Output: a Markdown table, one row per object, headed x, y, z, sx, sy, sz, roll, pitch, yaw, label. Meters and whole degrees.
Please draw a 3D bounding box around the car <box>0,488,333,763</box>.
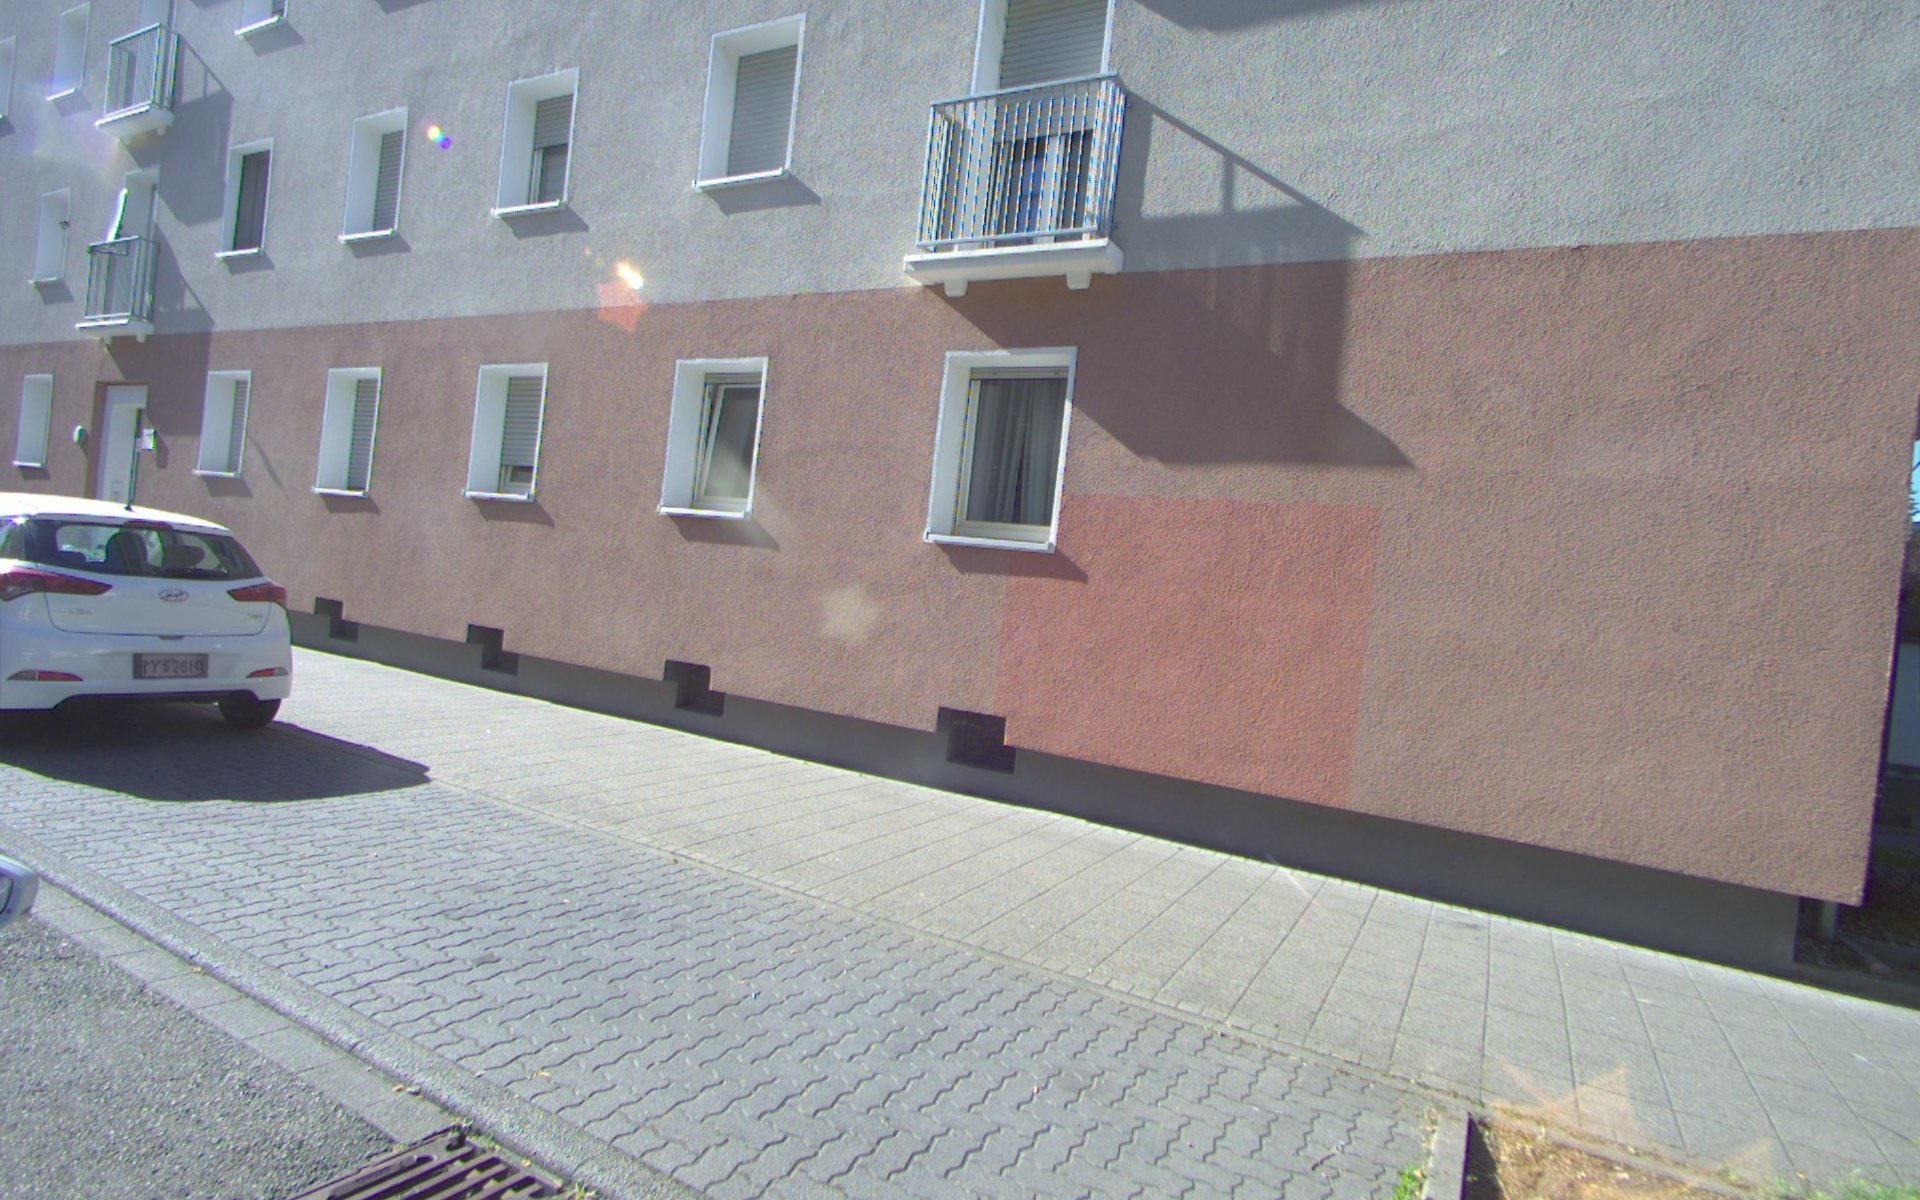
| x | y | z | sx | sy | sz | roll | pitch | yaw | label |
| --- | --- | --- | --- | --- | --- | --- | --- | --- | --- |
| -6.461 | -0.002 | 7.136 | 3.729 | 1.505 | 1.733 | 6 | 1 | 28 | car |
